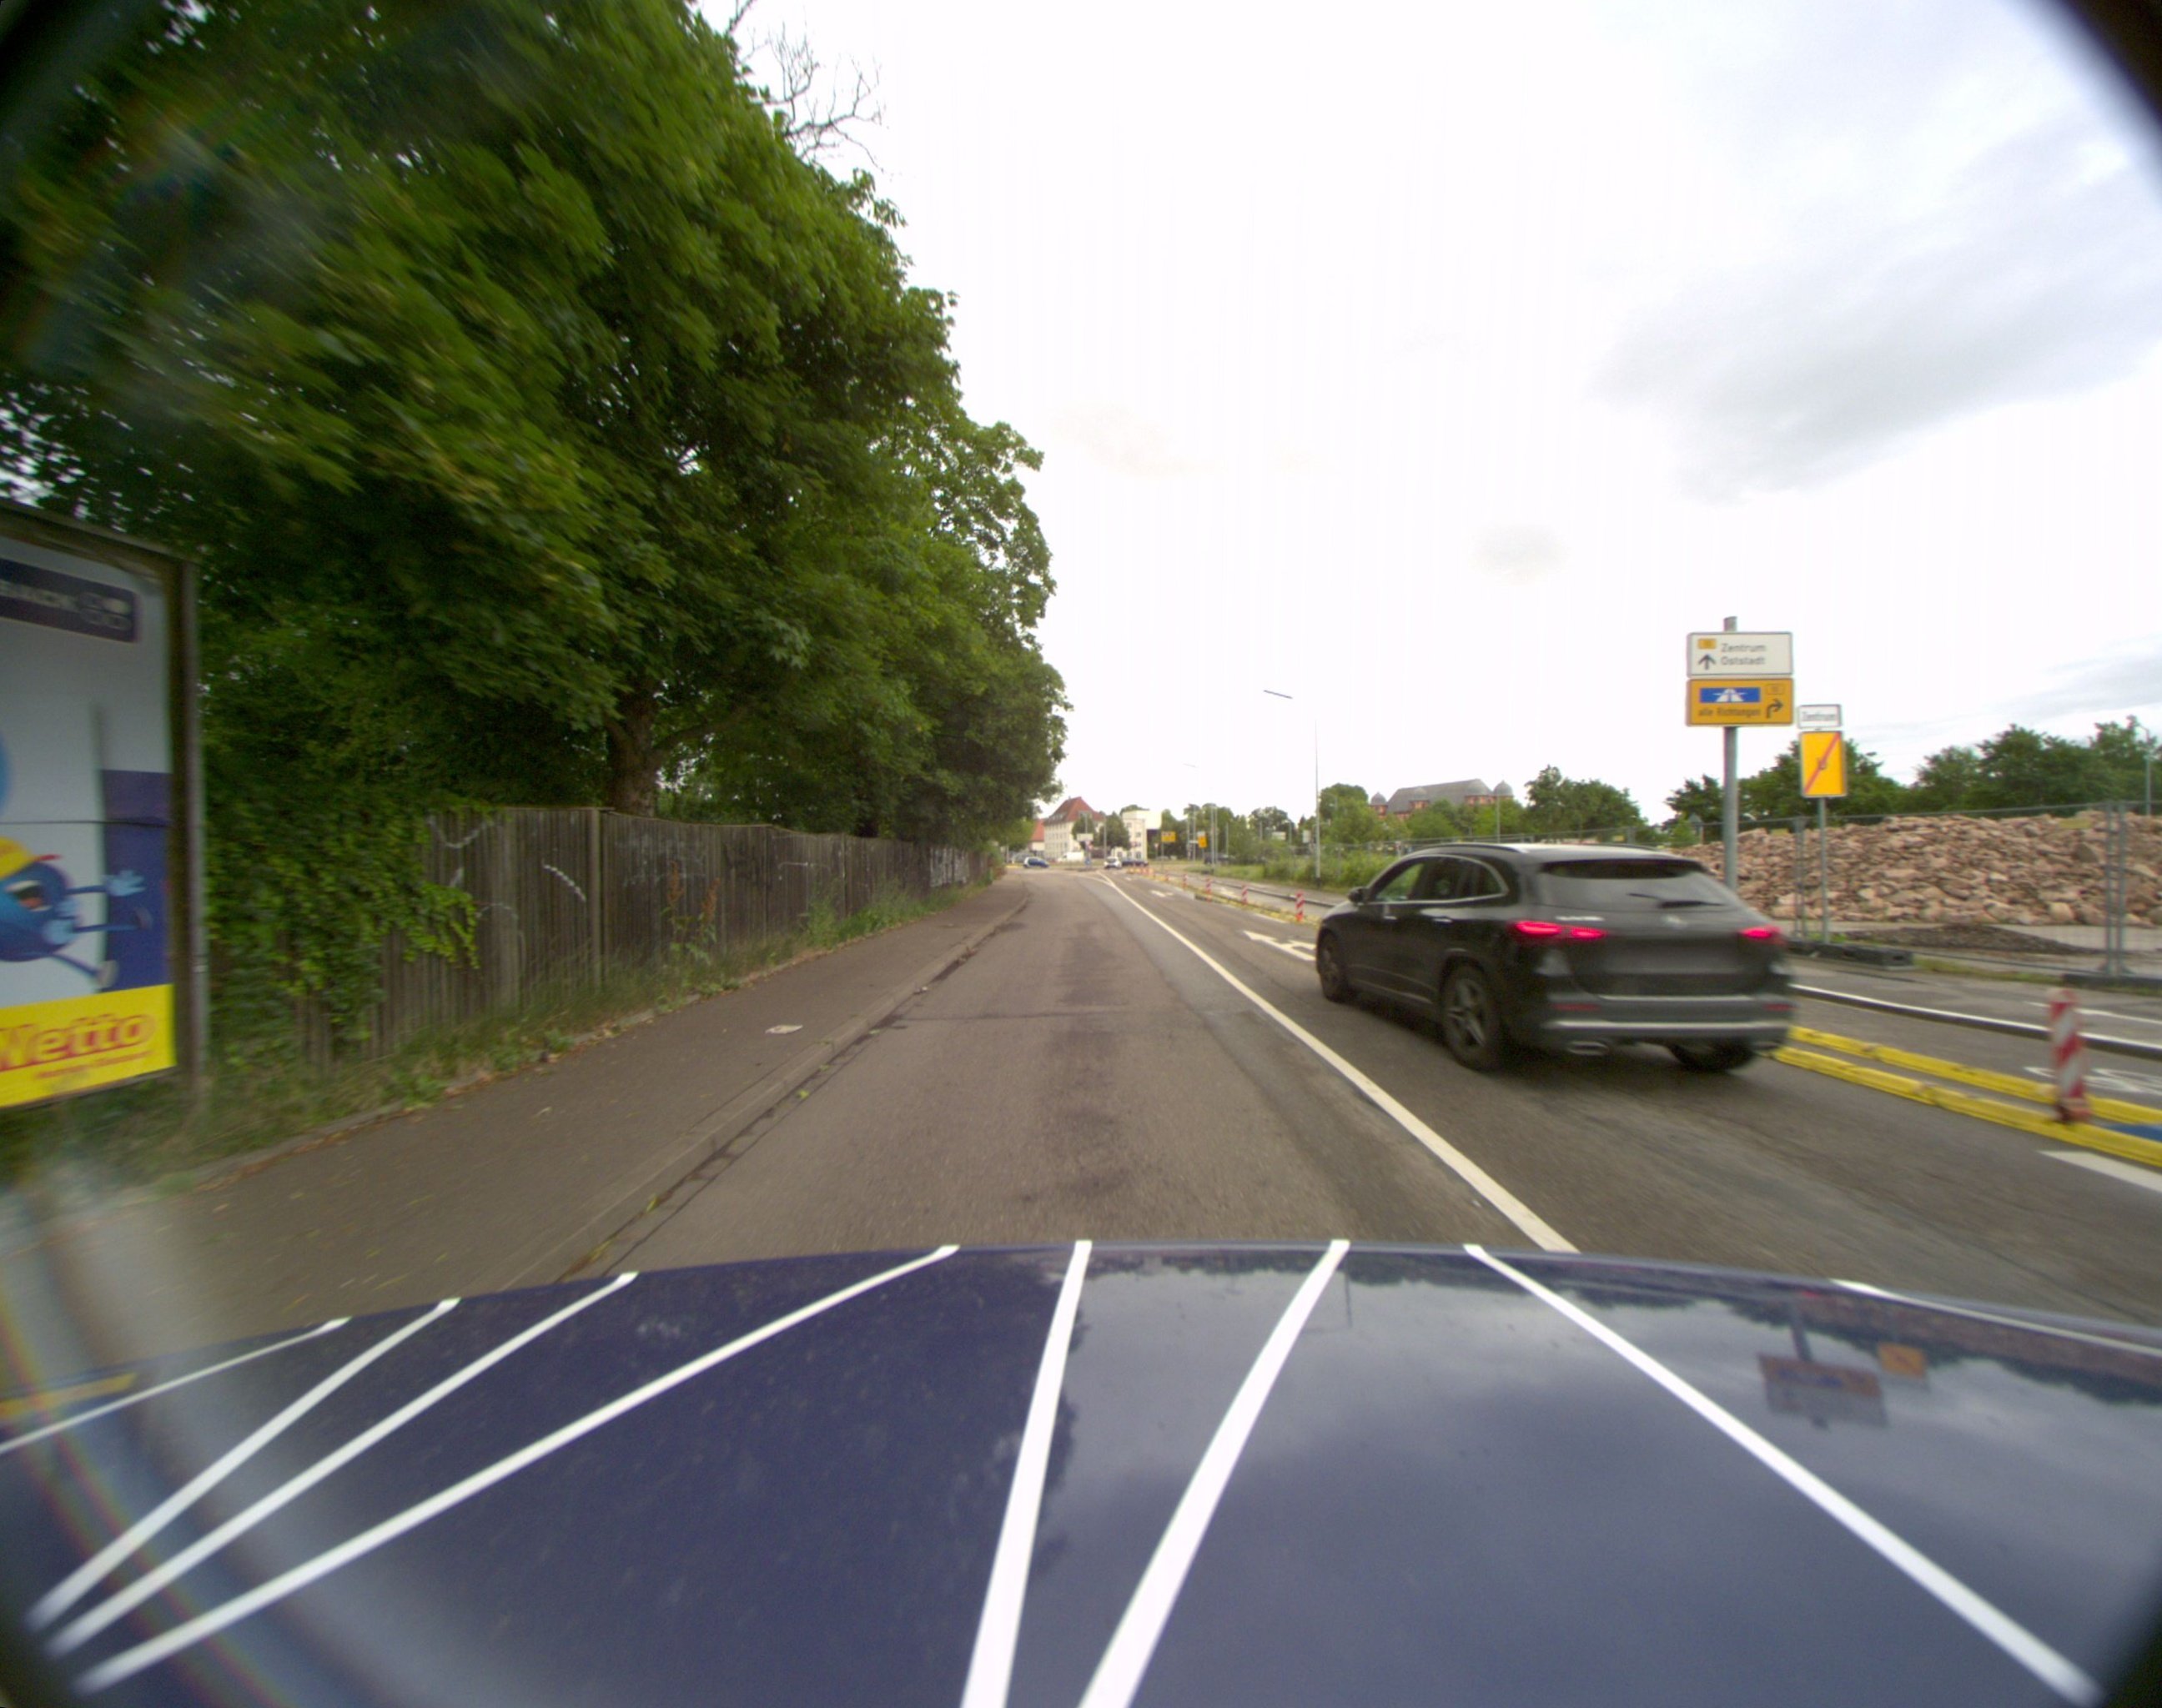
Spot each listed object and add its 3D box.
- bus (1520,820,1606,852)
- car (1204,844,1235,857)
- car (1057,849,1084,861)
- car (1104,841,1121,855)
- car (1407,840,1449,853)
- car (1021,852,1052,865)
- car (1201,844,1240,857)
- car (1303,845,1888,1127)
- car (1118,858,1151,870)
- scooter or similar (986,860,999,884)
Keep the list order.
[{"bbox_3d":[57.301,-2.054,90.526,8.374,3.626,2.740,-1,0,40],"label":"bus"},{"bbox_3d":[19.193,-0.528,105.497,4.005,1.705,1.932,-1,1,18],"label":"car"},{"bbox_3d":[-2.310,0.274,165.011,5.611,2.527,2.238,-1,1,-11],"label":"car"},{"bbox_3d":[3.840,-0.739,92.528,1.755,1.578,3.901,2,0,-1],"label":"car"},{"bbox_3d":[40.688,-0.900,89.057,4.421,1.449,1.835,-1,1,28],"label":"car"},{"bbox_3d":[-6.227,0.630,106.845,3.993,1.608,1.861,-1,1,13],"label":"car"},{"bbox_3d":[17.731,-0.400,96.801,4.474,1.557,1.921,-1,1,-4],"label":"car"},{"bbox_3d":[3.531,0.756,6.427,1.886,1.557,4.357,0,-1,-2],"label":"car"},{"bbox_3d":[7.293,1.309,103.147,4.353,1.608,2.002,0,0,10],"label":"car"},{"bbox_3d":[-5.007,1.003,43.158,0.693,1.304,2.352,0,0,-6],"label":"scooter or similar"}]
